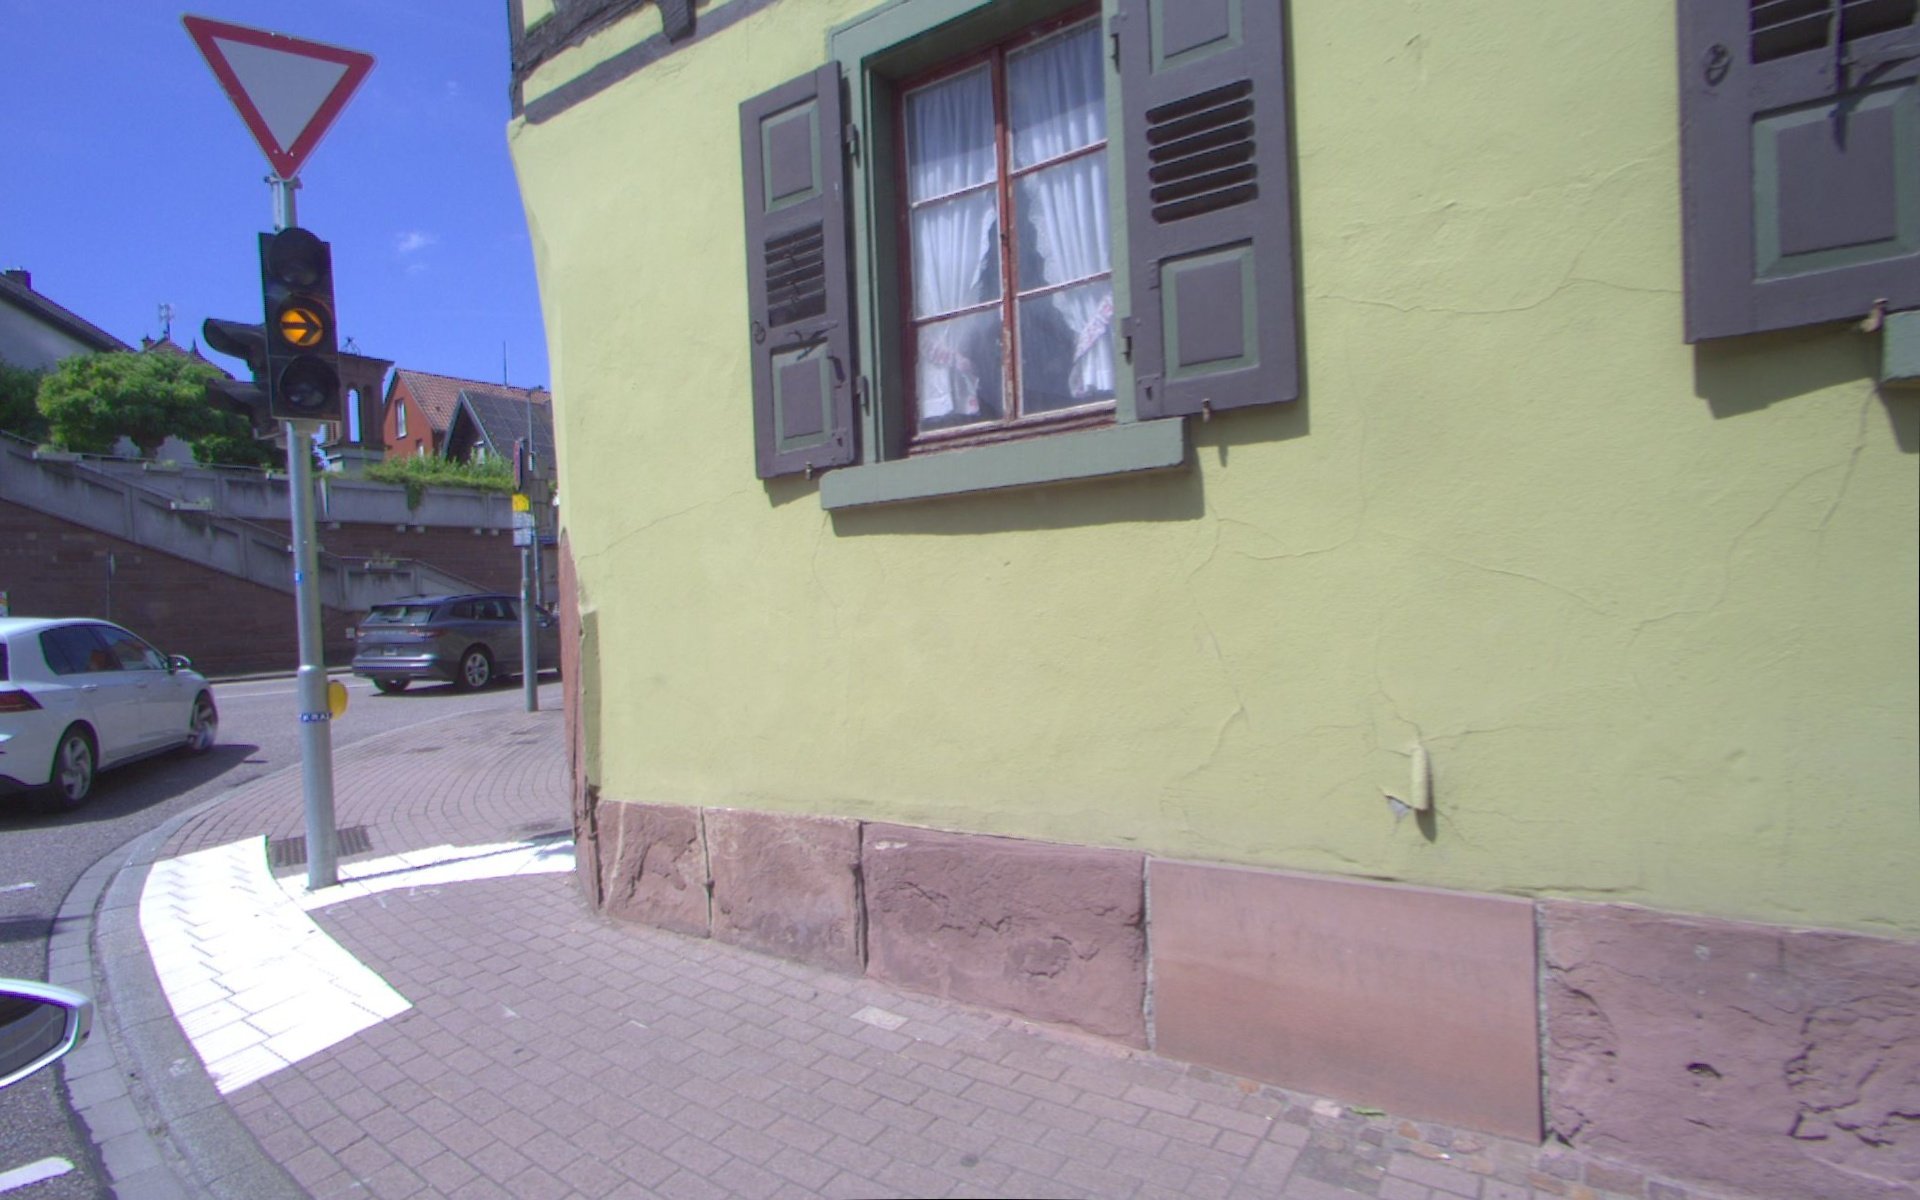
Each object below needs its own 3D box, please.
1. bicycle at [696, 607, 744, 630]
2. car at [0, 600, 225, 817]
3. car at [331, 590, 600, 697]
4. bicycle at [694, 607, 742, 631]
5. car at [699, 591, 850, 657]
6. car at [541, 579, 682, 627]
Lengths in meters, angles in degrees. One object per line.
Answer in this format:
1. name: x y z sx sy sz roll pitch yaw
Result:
1. bicycle: -9.624 0.737 40.188 1.793 0.911 0.621 0 1 -22
2. car: -7.888 0.778 8.384 1.758 1.477 3.853 -2 0 -20
3. car: -8.495 0.647 17.711 1.919 1.604 4.320 0 1 13
4. bicycle: -9.858 0.767 40.810 1.793 0.911 0.646 0 1 -23
5. car: -4.480 0.553 24.727 1.759 1.477 3.850 -1 0 24
6. car: -16.720 0.112 48.376 2.497 2.040 5.944 -3 0 41
